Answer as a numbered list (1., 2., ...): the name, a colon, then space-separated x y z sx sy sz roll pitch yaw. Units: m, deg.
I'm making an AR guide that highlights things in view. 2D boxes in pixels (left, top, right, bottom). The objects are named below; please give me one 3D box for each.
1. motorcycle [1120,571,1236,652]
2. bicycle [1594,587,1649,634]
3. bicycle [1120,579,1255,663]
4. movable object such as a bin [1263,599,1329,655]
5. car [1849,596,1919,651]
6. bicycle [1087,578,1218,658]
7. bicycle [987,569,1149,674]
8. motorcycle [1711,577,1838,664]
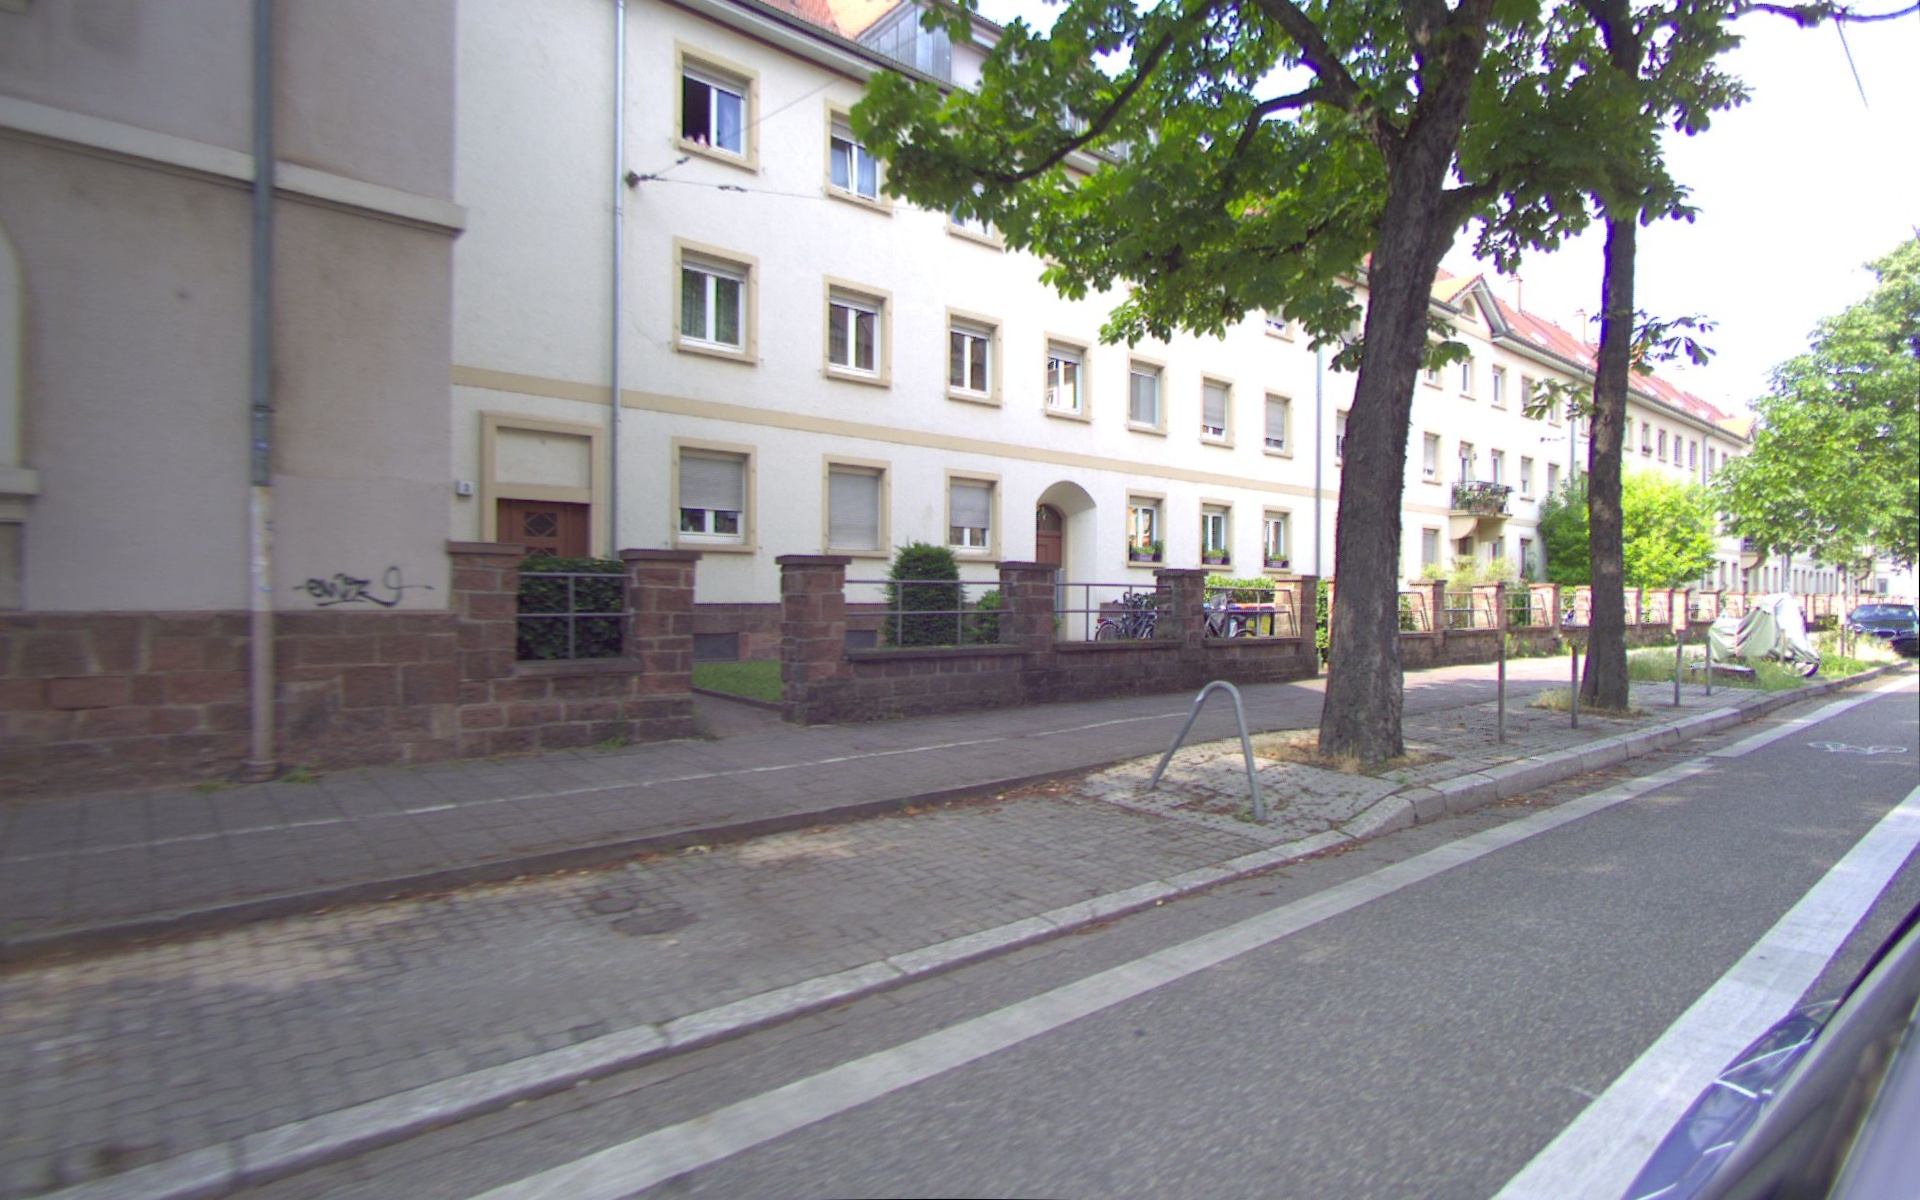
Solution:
1. motorcycle: 4.154 0.182 19.114 2.553 1.431 0.752 -1 1 -41
2. bicycle: 18.311 0.261 27.995 2.194 1.252 0.691 0 1 -41
3. bicycle: 3.567 0.288 15.711 2.553 1.206 0.653 -1 1 -41
4. movable object such as a bin: 5.845 0.459 17.594 0.739 0.928 0.830 0 1 -41
5. car: 26.291 0.624 28.295 3.931 1.405 1.692 0 1 -41
6. bicycle: 3.178 0.253 16.491 2.553 1.206 0.653 -1 1 -41
7. bicycle: 1.545 0.251 14.051 2.553 1.335 0.653 -1 1 -41
8. motorcycle: 15.007 0.337 18.737 0.796 1.512 2.068 1 1 6
